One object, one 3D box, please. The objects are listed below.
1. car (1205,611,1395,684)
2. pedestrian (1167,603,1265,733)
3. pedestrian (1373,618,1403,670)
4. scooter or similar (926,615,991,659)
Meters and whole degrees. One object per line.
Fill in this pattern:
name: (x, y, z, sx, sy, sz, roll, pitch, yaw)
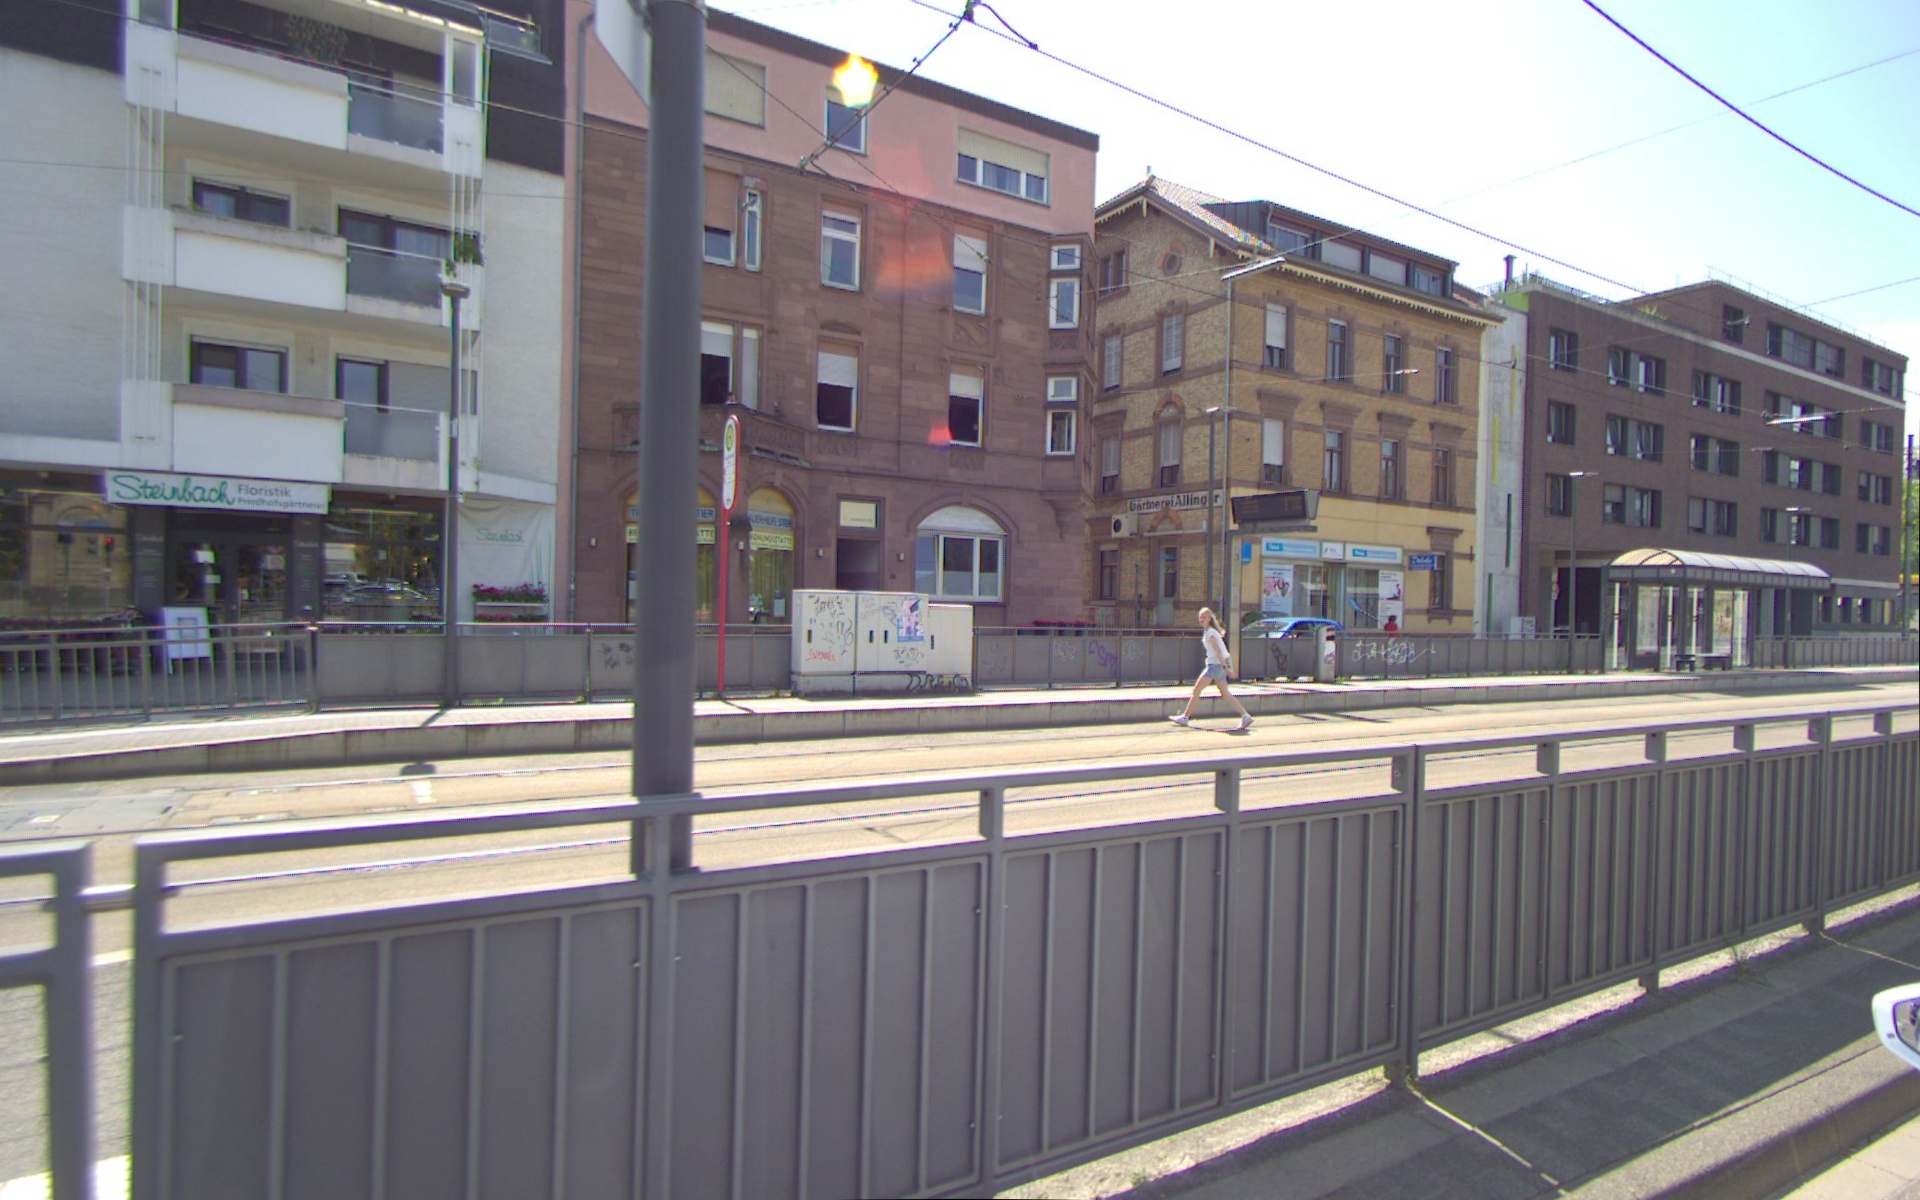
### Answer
car: (7.766, 1.029, 22.931, 3.950, 1.528, 1.985, 1, 0, -29)
pedestrian: (3.458, 0.897, 13.618, 1.079, 1.697, 0.765, 1, 0, -5)
pedestrian: (13.451, 1.375, 31.576, 0.633, 1.581, 0.611, 0, 0, -31)
scooter or similar: (-0.040, 0.925, 25.225, 1.550, 1.096, 0.488, 0, 0, -14)
